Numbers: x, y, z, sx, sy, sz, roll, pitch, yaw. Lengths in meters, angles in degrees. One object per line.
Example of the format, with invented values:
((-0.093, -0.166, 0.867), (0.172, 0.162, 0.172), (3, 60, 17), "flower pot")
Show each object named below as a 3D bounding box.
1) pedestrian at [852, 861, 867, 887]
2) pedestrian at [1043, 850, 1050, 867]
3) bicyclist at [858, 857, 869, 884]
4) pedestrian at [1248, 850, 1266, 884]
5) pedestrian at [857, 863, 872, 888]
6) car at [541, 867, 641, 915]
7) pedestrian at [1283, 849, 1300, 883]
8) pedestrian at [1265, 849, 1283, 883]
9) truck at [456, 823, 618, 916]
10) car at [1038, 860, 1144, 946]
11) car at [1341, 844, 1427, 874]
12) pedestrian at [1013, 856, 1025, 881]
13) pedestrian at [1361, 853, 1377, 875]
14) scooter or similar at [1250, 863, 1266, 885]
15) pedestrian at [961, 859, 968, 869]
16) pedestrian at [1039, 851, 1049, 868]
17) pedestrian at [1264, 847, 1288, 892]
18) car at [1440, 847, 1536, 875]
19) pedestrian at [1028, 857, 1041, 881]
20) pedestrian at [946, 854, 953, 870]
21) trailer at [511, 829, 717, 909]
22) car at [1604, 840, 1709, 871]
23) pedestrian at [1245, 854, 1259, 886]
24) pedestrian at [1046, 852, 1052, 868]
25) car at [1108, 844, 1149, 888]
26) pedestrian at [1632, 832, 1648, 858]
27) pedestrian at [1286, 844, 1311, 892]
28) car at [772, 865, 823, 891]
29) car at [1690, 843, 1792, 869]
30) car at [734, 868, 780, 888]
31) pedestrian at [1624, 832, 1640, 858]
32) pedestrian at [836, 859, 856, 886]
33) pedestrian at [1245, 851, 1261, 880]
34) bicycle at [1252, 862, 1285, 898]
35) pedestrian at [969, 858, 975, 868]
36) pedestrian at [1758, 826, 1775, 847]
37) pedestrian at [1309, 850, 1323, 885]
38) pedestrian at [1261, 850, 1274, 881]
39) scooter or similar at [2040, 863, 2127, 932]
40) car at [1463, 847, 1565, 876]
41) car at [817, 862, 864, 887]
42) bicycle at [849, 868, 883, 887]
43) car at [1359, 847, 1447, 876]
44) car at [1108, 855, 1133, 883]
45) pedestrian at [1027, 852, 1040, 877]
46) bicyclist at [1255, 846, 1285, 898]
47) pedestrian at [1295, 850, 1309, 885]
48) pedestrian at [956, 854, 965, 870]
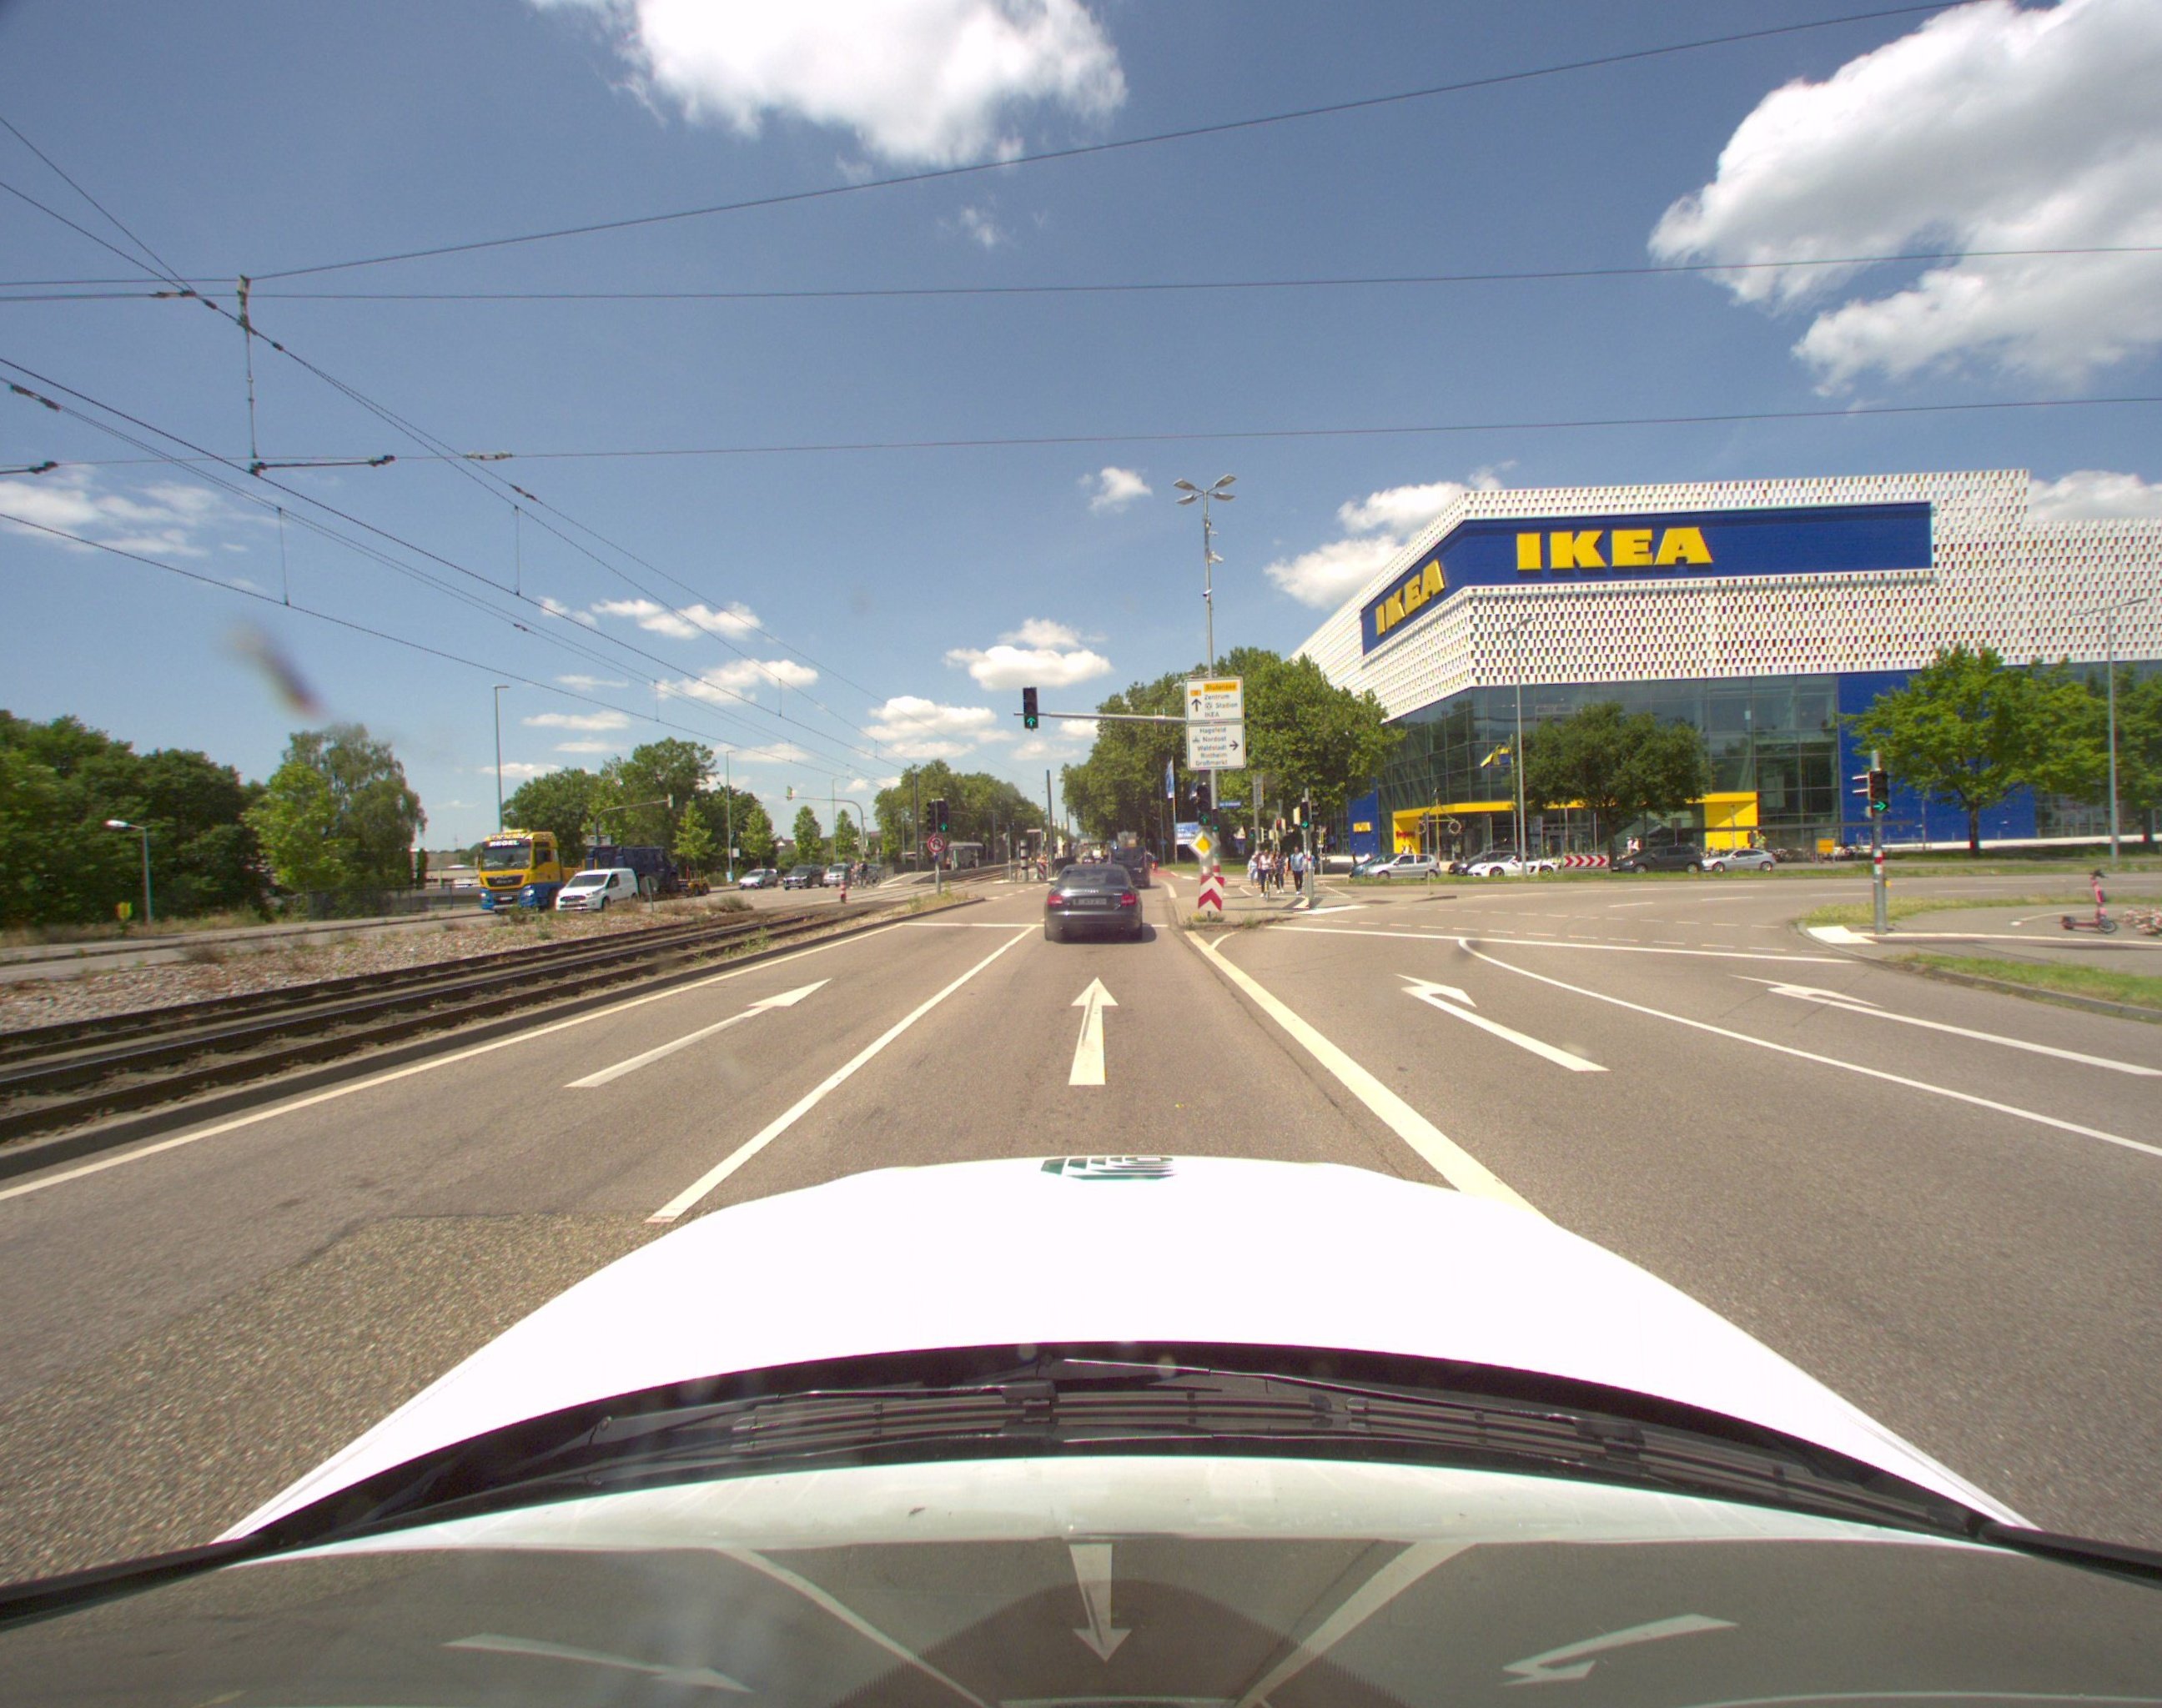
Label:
((-14.597, 1.330, 53.781), (0.759, 1.672, 0.763), (-1, 0, -2), "pedestrian")
((-3.483, 0.463, 82.002), (0.611, 1.681, 0.719), (-1, 0, -1), "pedestrian")
((-13.355, 1.022, 50.019), (0.665, 1.615, 0.730), (-1, 0, -15), "bicyclist")
((8.686, 0.626, 40.190), (0.778, 1.672, 0.949), (-1, 0, 8), "pedestrian")
((-13.917, 1.372, 52.320), (0.759, 1.548, 0.763), (-1, 0, -2), "pedestrian")
((-20.581, 1.490, 34.431), (1.992, 1.838, 4.421), (0, 0, -7), "car")
((10.595, 0.591, 40.970), (0.788, 1.659, 0.856), (-1, 0, 18), "pedestrian")
((9.621, 0.594, 40.542), (0.788, 1.659, 0.856), (-1, 0, 18), "pedestrian")
((-26.120, 0.672, 39.682), (3.119, 4.039, 7.467), (-1, 0, -3), "truck")
((0.263, 0.866, 16.236), (1.835, 1.484, 4.002), (0, 0, 2), "car")
((16.600, 0.276, 44.795), (3.975, 1.555, 1.999), (-1, 0, -1), "car")
((-4.217, 0.956, 55.210), (0.730, 1.673, 0.678), (-1, 0, -3), "pedestrian")
((21.268, 0.704, 60.072), (0.916, 1.586, 0.632), (-2, 0, -5), "pedestrian")
((8.586, 0.986, 39.565), (0.686, 1.031, 0.864), (-1, 0, 7), "scooter or similar")
((-13.425, 1.182, 93.846), (0.574, 1.094, 0.639), (-2, 0, 1), "pedestrian")
((-3.553, 0.538, 78.959), (0.887, 1.605, 0.924), (-1, 0, -1), "pedestrian")
((7.789, 0.620, 32.562), (0.799, 1.759, 0.799), (-1, 0, 5), "pedestrian")
((22.434, 0.389, 45.025), (4.386, 1.443, 1.853), (-1, 0, 0), "car")
((-3.058, 0.980, 53.786), (0.783, 1.572, 0.764), (-1, 0, -3), "pedestrian")
((-13.617, 0.825, 84.392), (0.556, 1.638, 0.805), (-1, 0, -7), "pedestrian")
((-26.245, 0.725, 47.441), (3.105, 3.871, 15.478), (-1, 0, 0), "trailer")
((31.392, 0.102, 44.498), (4.382, 1.584, 1.865), (-1, 0, 3), "car")
((7.831, 0.723, 37.298), (0.586, 1.476, 0.808), (0, 0, 7), "pedestrian")
((-3.197, 0.564, 80.999), (0.495, 1.577, 0.557), (-2, 0, -1), "pedestrian")
((2.261, 0.552, 39.218), (1.841, 1.959, 4.147), (-1, 0, 2), "car")
((44.309, -0.723, 64.590), (0.792, 2.013, 0.735), (-1, 0, 9), "pedestrian")
((8.507, 0.538, 31.876), (0.799, 1.865, 0.799), (-1, 0, 5), "pedestrian")
((-19.752, 1.616, 56.841), (1.986, 1.629, 4.002), (-1, 0, 2), "car")
((38.576, 0.118, 47.676), (4.382, 1.398, 1.865), (-1, 0, 3), "car")
((-25.712, 1.909, 64.777), (1.987, 1.463, 4.277), (-1, 0, -1), "car")
((44.430, -0.717, 65.698), (0.791, 2.013, 0.735), (-1, 0, 13), "pedestrian")
((-14.742, 1.154, 51.122), (0.954, 1.610, 0.763), (-1, 0, -2), "pedestrian")
((9.543, 0.643, 45.239), (0.759, 1.606, 0.901), (-1, 0, 18), "pedestrian")
((6.311, 0.886, 27.469), (0.825, 1.162, 1.881), (-1, -3, 5), "bicycle")
((-13.539, 1.118, 101.460), (0.574, 1.190, 0.639), (-2, 0, 1), "pedestrian")
((53.916, -1.372, 64.062), (0.765, 1.586, 0.579), (-2, 0, -5), "pedestrian")
((11.072, 0.652, 38.447), (0.598, 1.638, 0.867), (-1, -2, 16), "pedestrian")
((10.465, 0.639, 45.736), (0.618, 1.683, 0.729), (-1, 0, 18), "pedestrian")
((19.886, 0.836, 16.180), (0.475, 1.291, 1.285), (-1, 0, 20), "scooter or similar")
((21.987, 0.368, 41.474), (4.202, 1.398, 1.805), (-1, 0, 2), "car")
((-16.996, 1.418, 57.763), (1.986, 1.629, 4.002), (-1, 0, 2), "car")
((-13.207, 1.448, 50.062), (1.975, 1.101, 0.761), (-1, 0, -15), "bicycle")
((16.365, 0.381, 41.501), (3.808, 1.397, 1.805), (-1, 0, 3), "car")
((2.992, 1.097, 61.544), (1.841, 1.959, 4.147), (-1, 0, 2), "car")
((-3.381, 0.737, 58.151), (0.860, 1.802, 0.882), (-1, 0, -3), "pedestrian")
((6.383, 0.603, 27.556), (0.811, 1.700, 0.799), (-1, 0, 1), "bicyclist")
((10.479, 0.658, 38.637), (0.601, 1.638, 0.867), (-1, -2, 16), "pedestrian")
((-13.300, 0.833, 89.692), (0.729, 1.729, 0.582), (-2, 0, 38), "pedestrian")
